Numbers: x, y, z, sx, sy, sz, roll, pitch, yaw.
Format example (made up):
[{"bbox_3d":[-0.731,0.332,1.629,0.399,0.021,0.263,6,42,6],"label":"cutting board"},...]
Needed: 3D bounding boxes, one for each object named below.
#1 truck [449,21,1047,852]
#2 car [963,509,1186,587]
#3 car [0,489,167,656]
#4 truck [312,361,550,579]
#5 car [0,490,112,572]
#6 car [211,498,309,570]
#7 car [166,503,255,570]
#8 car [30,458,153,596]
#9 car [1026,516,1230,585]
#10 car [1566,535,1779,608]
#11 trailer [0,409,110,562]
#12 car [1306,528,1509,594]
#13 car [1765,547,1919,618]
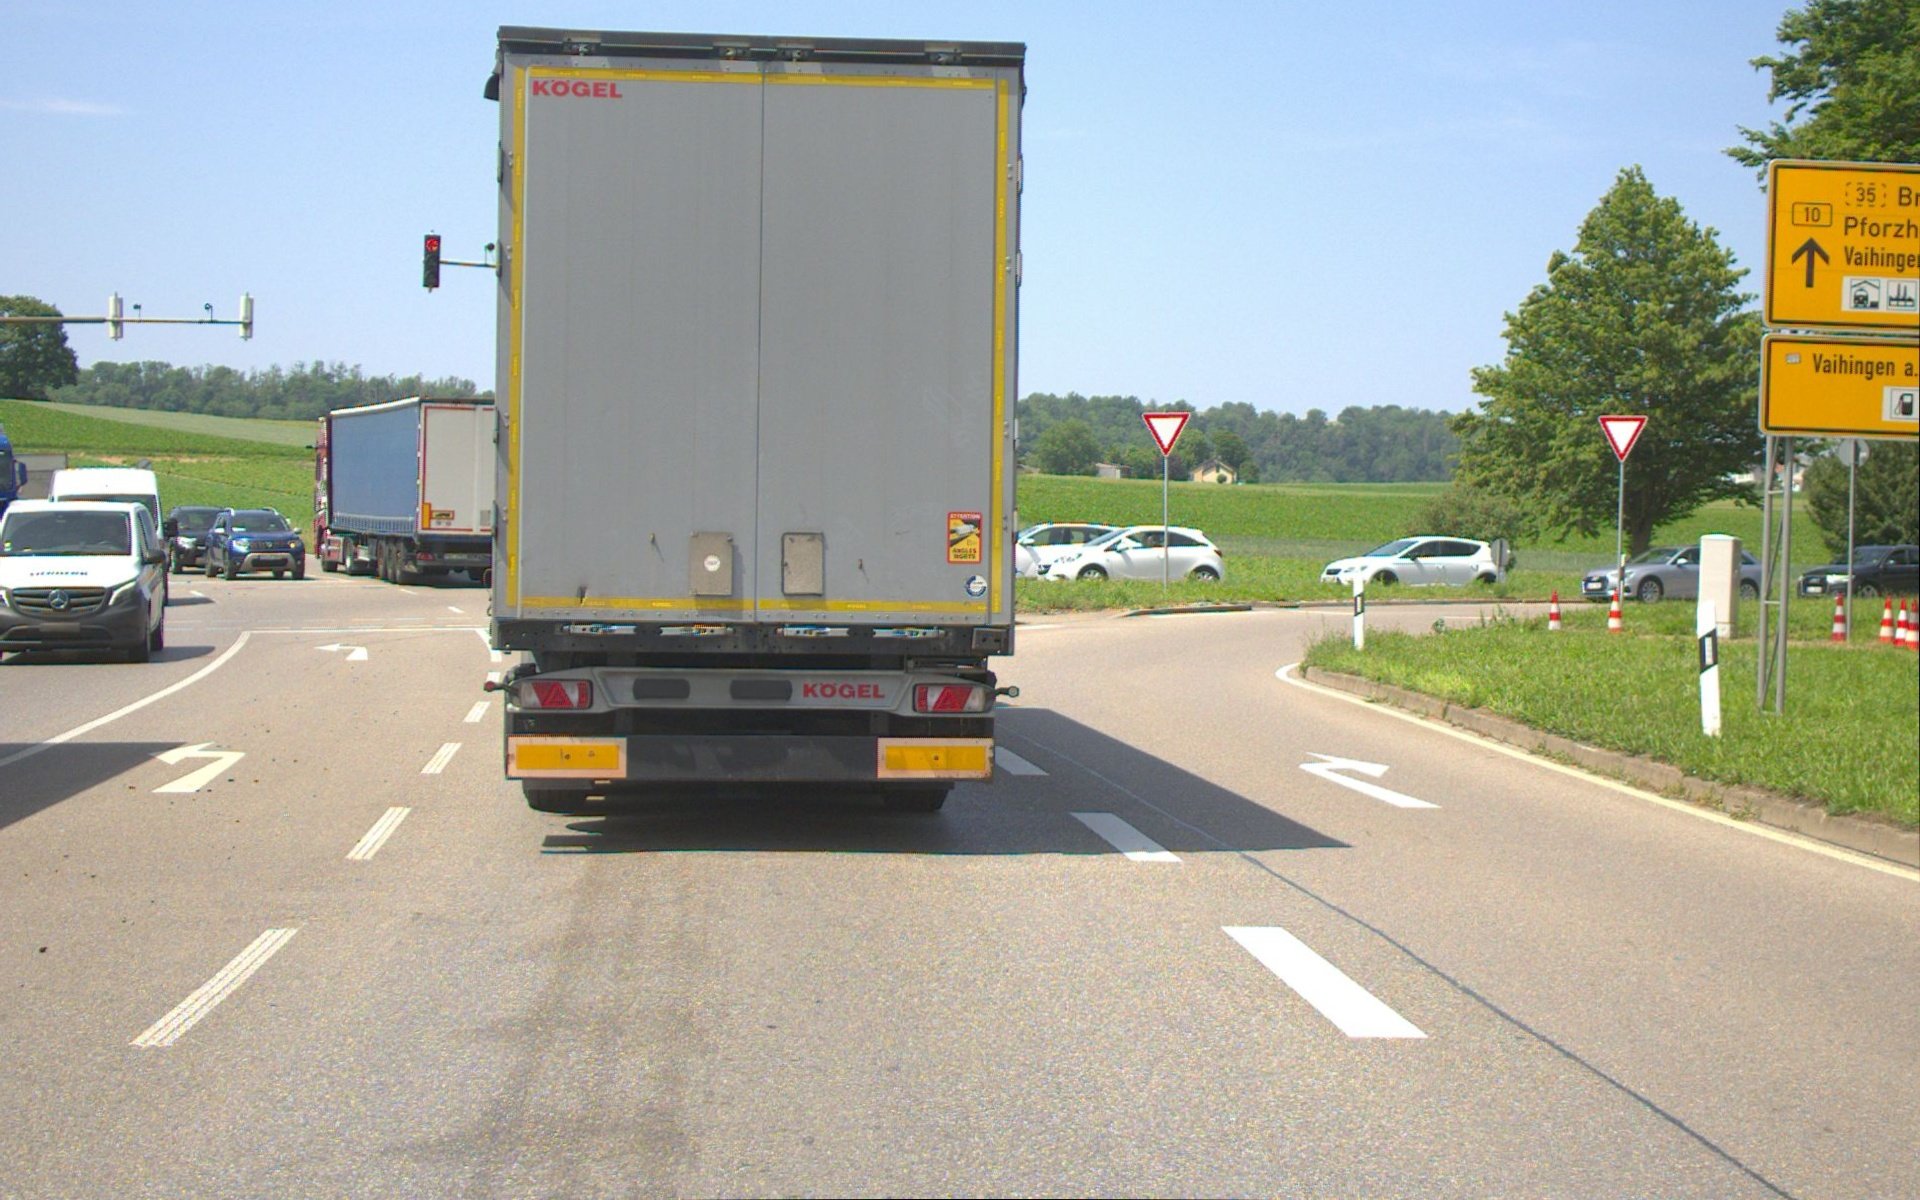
[{"bbox_3d":[-1.391,-0.856,21.269,2.807,3.932,9.592,1,1,-5],"label":"truck"},{"bbox_3d":[2.562,-1.159,77.221,4.624,1.602,1.999,2,0,-11],"label":"car"},{"bbox_3d":[-10.601,-0.369,40.846,1.872,1.858,5.142,0,1,-8],"label":"car"},{"bbox_3d":[-12.602,-2.973,80.306,2.960,4.568,16.322,0,2,-18],"label":"truck"},{"bbox_3d":[-21.420,-1.632,80.898,1.870,1.880,4.953,-1,1,-25],"label":"car"},{"bbox_3d":[-16.462,-1.565,80.739,1.770,1.652,4.001,0,1,-19],"label":"car"},{"bbox_3d":[-18.838,-1.605,86.345,1.770,1.652,4.001,0,1,-18],"label":"car"},{"bbox_3d":[-16.229,-1.382,64.089,2.050,2.443,5.270,-1,2,-16],"label":"car"},{"bbox_3d":[3.572,-1.047,73.259,3.958,1.414,1.829,0,0,-16],"label":"car"},{"bbox_3d":[16.209,-0.642,78.152,4.546,1.505,1.801,2,0,-26],"label":"car"},{"bbox_3d":[-26.699,-3.251,97.186,2.566,4.016,13.598,-1,2,-25],"label":"trailer"},{"bbox_3d":[9.864,-0.845,75.808,4.091,1.414,1.801,0,0,-23],"label":"car"},{"bbox_3d":[21.325,-0.393,81.386,4.547,1.505,1.801,3,-1,-35],"label":"car"}]
